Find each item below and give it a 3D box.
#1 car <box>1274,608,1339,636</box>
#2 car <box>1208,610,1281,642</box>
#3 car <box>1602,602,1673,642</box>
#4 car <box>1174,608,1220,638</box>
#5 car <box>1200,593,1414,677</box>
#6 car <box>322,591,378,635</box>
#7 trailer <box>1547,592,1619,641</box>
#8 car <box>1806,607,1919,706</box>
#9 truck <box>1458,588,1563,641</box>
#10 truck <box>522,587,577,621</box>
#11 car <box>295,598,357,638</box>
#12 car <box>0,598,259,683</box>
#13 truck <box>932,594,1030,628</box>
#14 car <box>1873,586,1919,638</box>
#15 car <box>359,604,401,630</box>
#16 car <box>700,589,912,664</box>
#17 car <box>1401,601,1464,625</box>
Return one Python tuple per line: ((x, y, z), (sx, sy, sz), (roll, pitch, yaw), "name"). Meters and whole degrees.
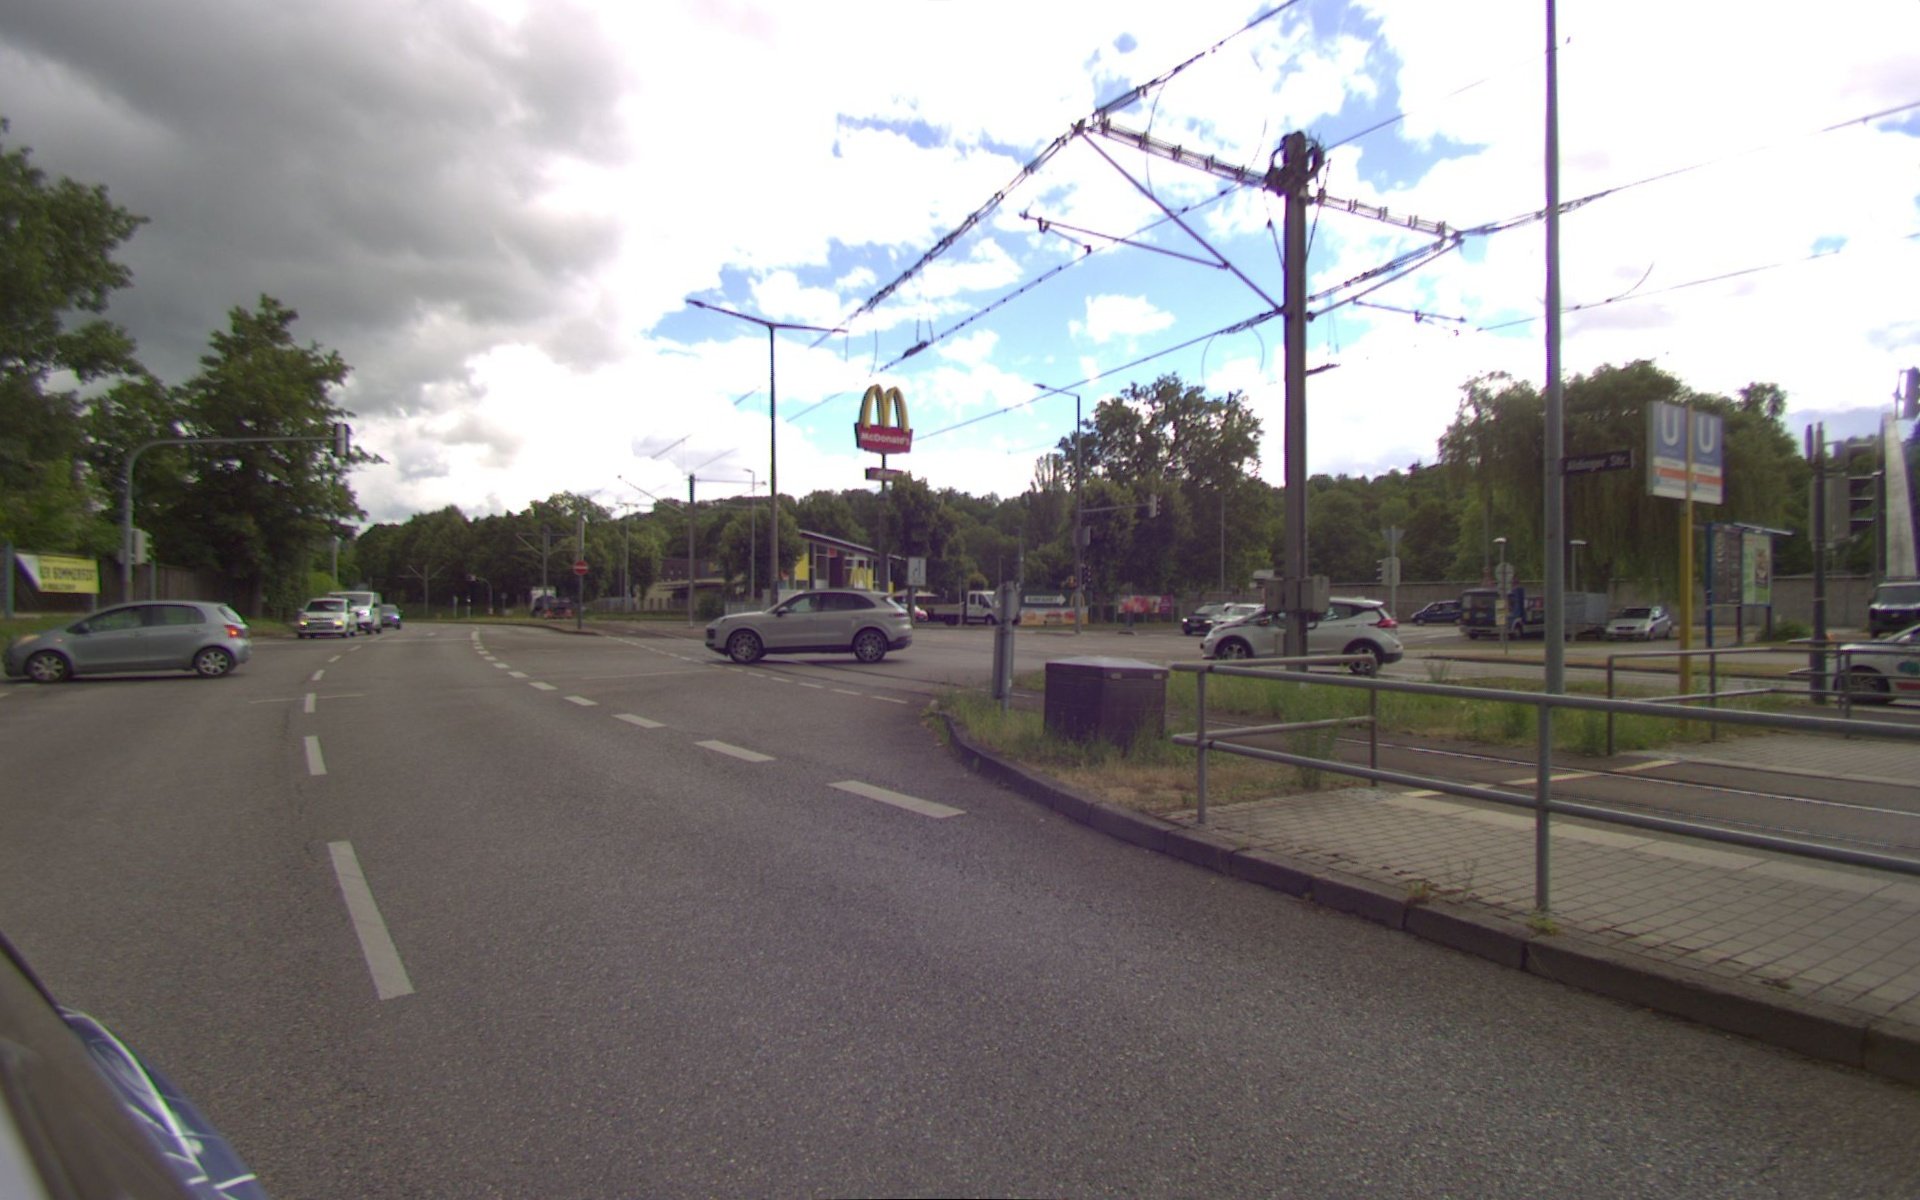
((18.562, 1.134, 54.110), (1.796, 1.443, 4.223), (0, -1, 43), "car")
((13.442, 1.183, 47.659), (1.794, 1.443, 4.361), (0, 0, 39), "car")
((31.054, 1.000, 46.353), (3.796, 1.756, 1.758), (1, -1, -40), "car")
((12.083, 1.139, 51.441), (1.784, 1.443, 3.615), (0, 0, 21), "car")
((7.367, 0.692, 21.548), (4.104, 1.653, 1.734), (0, -1, 28), "car")
((-27.115, 0.574, 45.083), (1.779, 1.839, 4.013), (0, -1, -26), "car")
((29.906, 0.811, 48.534), (4.321, 2.275, 1.563), (2, -2, -39), "trailer")
((15.248, 0.859, 15.047), (1.605, 1.465, 3.838), (2, -2, -37), "car")
((27.232, 0.702, 49.977), (5.730, 2.513, 2.392), (1, -1, -37), "truck")
((-45.367, 0.469, 111.608), (3.382, 3.586, 8.718), (2, -1, -38), "truck")
((-24.504, 0.676, 39.244), (1.691, 1.429, 4.013), (2, -1, -28), "car")
((-15.778, 0.725, 19.383), (3.724, 1.499, 1.682), (1, -1, -31), "car")
((1.193, 0.678, 61.393), (2.559, 1.920, 6.210), (2, -1, -38), "truck")
((39.673, 0.533, 42.125), (4.312, 2.067, 1.850), (2, -1, -39), "car")
((-35.638, 1.024, 62.290), (1.965, 1.547, 4.013), (2, -1, -26), "car")
((-3.521, 0.599, 23.759), (4.784, 1.655, 1.677), (0, 0, -2), "car")
((32.535, 0.868, 69.676), (3.639, 1.566, 1.704), (0, -1, 40), "car")
